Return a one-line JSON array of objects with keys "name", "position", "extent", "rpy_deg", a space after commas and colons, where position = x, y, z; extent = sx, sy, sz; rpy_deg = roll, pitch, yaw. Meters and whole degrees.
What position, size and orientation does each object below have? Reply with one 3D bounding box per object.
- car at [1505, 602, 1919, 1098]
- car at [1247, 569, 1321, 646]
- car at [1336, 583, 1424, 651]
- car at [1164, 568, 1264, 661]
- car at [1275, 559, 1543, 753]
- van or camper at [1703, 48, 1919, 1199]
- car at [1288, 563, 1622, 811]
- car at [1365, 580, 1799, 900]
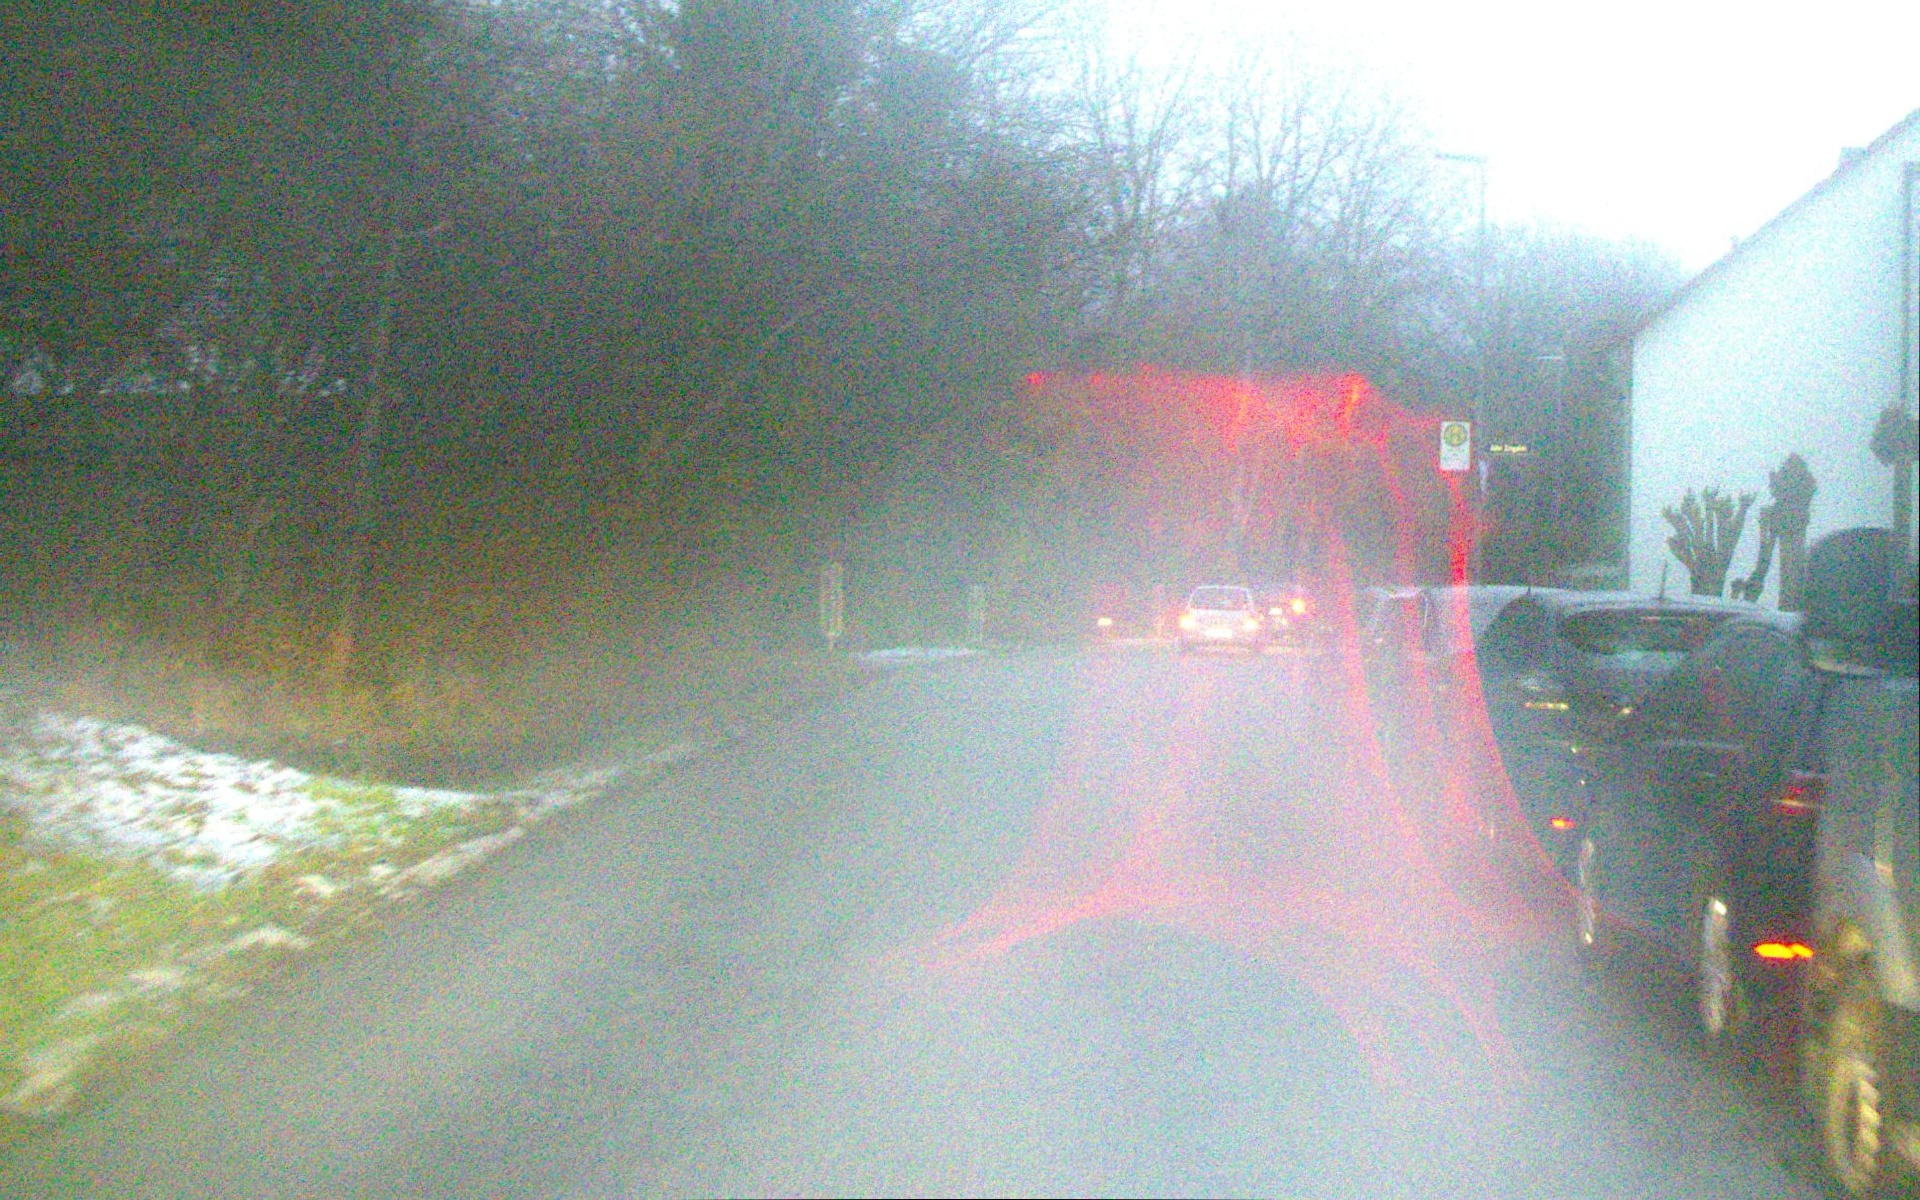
[{"name": "car", "position": [3.011, 0.731, 11.990], "extent": [1.655, 1.385, 4.123], "rpy_deg": [1, 1, 2]}, {"name": "car", "position": [7.863, 0.167, 83.270], "extent": [1.690, 1.768, 3.860], "rpy_deg": [1, 1, 6]}, {"name": "car", "position": [9.971, 0.385, 81.427], "extent": [1.704, 1.501, 4.023], "rpy_deg": [2, 1, 11]}, {"name": "car", "position": [5.146, 0.269, 70.122], "extent": [1.933, 1.775, 4.000], "rpy_deg": [1, 1, 3]}, {"name": "car", "position": [3.720, 0.417, 29.140], "extent": [1.738, 1.424, 4.457], "rpy_deg": [3, 1, 2]}, {"name": "van or camper", "position": [2.797, 0.237, 5.007], "extent": [2.014, 2.499, 6.793], "rpy_deg": [1, 1, 1]}, {"name": "car", "position": [3.244, 0.511, 23.295], "extent": [1.655, 1.424, 4.564], "rpy_deg": [3, 1, 2]}, {"name": "car", "position": [3.029, 0.608, 17.551], "extent": [1.656, 1.385, 4.532], "rpy_deg": [1, 1, 4]}]
